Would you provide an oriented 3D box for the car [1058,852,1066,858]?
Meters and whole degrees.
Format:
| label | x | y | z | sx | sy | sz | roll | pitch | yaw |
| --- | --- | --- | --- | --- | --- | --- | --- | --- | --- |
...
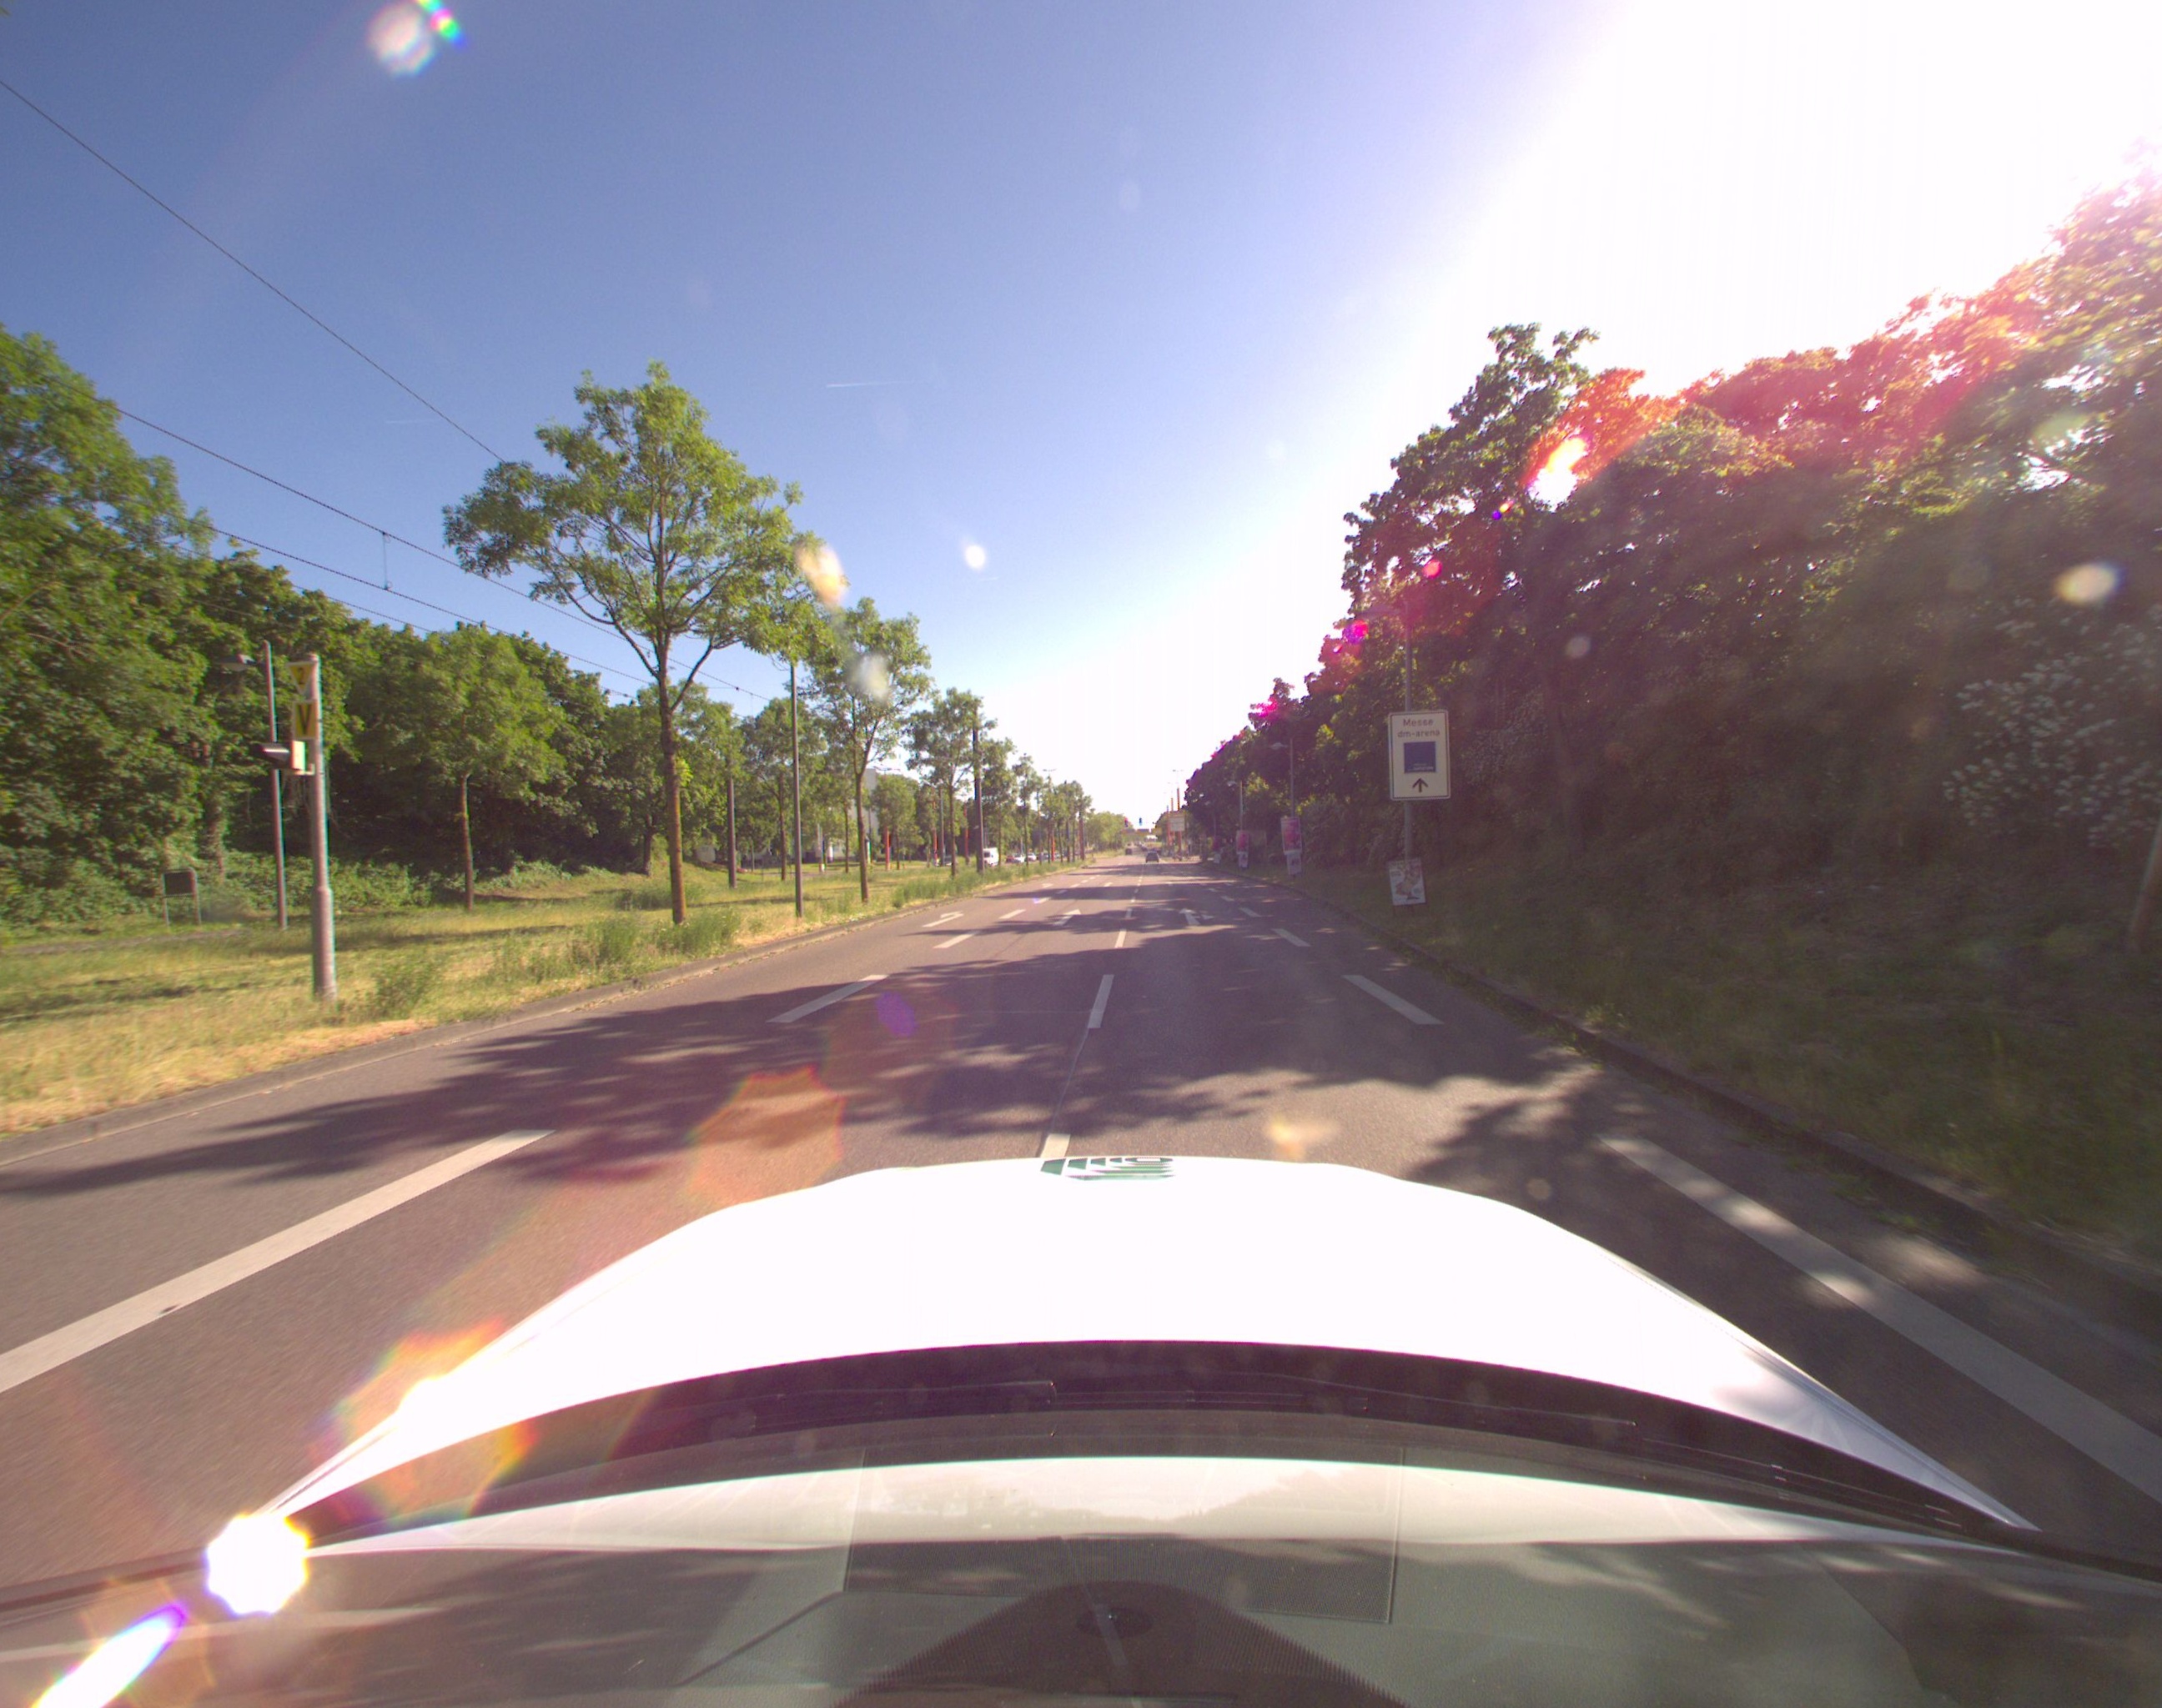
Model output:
| label | x | y | z | sx | sy | sz | roll | pitch | yaw |
| --- | --- | --- | --- | --- | --- | --- | --- | --- | --- |
| car | -4.753 | 0.179 | 204.039 | 1.624 | 1.445 | 4.195 | -1 | 0 | 3 |

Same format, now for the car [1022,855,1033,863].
| label | x | y | z | sx | sy | sz | roll | pitch | yaw |
| --- | --- | --- | --- | --- | --- | --- | --- | --- | --- |
| car | -9.821 | 0.869 | 149.249 | 1.624 | 1.445 | 4.195 | -1 | 0 | 3 |

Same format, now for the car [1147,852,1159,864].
| label | x | y | z | sx | sy | sz | roll | pitch | yaw |
| --- | --- | --- | --- | --- | --- | --- | --- | --- | --- |
| car | 9.775 | 0.521 | 111.022 | 1.626 | 1.498 | 4.240 | -1 | 0 | 5 |

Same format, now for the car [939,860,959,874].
| label | x | y | z | sx | sy | sz | roll | pitch | yaw |
| --- | --- | --- | --- | --- | --- | --- | --- | --- | --- |
| car | -16.541 | 1.561 | 101.995 | 1.624 | 1.680 | 4.195 | -1 | 0 | 3 |

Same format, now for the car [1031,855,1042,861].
| label | x | y | z | sx | sy | sz | roll | pitch | yaw |
| --- | --- | --- | --- | --- | --- | --- | --- | --- | --- |
| car | -8.886 | 0.799 | 162.764 | 1.624 | 1.111 | 4.195 | -1 | 0 | 3 |

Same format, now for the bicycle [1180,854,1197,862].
| label | x | y | z | sx | sy | sz | roll | pitch | yaw |
| --- | --- | --- | --- | --- | --- | --- | --- | --- | --- |
| bicycle | 15.435 | 0.524 | 116.603 | 2.404 | 1.109 | 0.813 | -1 | 0 | 4 |

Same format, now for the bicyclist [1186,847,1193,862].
| label | x | y | z | sx | sy | sz | roll | pitch | yaw |
| --- | --- | --- | --- | --- | --- | --- | --- | --- | --- |
| bicyclist | 15.515 | 0.078 | 116.600 | 1.004 | 2.007 | 0.813 | -1 | 0 | 4 |

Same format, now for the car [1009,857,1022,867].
| label | x | y | z | sx | sy | sz | roll | pitch | yaw |
| --- | --- | --- | --- | --- | --- | --- | --- | --- | --- |
| car | -11.324 | 1.331 | 140.398 | 1.624 | 1.680 | 4.195 | -1 | 0 | 3 |

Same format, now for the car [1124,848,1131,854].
| label | x | y | z | sx | sy | sz | roll | pitch | yaw |
| --- | --- | --- | --- | --- | --- | --- | --- | --- | --- |
| car | 11.930 | -0.698 | 209.032 | 1.626 | 1.498 | 4.240 | -1 | 0 | 5 |

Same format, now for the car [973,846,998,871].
| label | x | y | z | sx | sy | sz | roll | pitch | yaw |
| --- | --- | --- | --- | --- | --- | --- | --- | --- | --- |
| car | -13.109 | 0.611 | 111.897 | 2.455 | 3.240 | 6.138 | 0 | -1 | 2 |
